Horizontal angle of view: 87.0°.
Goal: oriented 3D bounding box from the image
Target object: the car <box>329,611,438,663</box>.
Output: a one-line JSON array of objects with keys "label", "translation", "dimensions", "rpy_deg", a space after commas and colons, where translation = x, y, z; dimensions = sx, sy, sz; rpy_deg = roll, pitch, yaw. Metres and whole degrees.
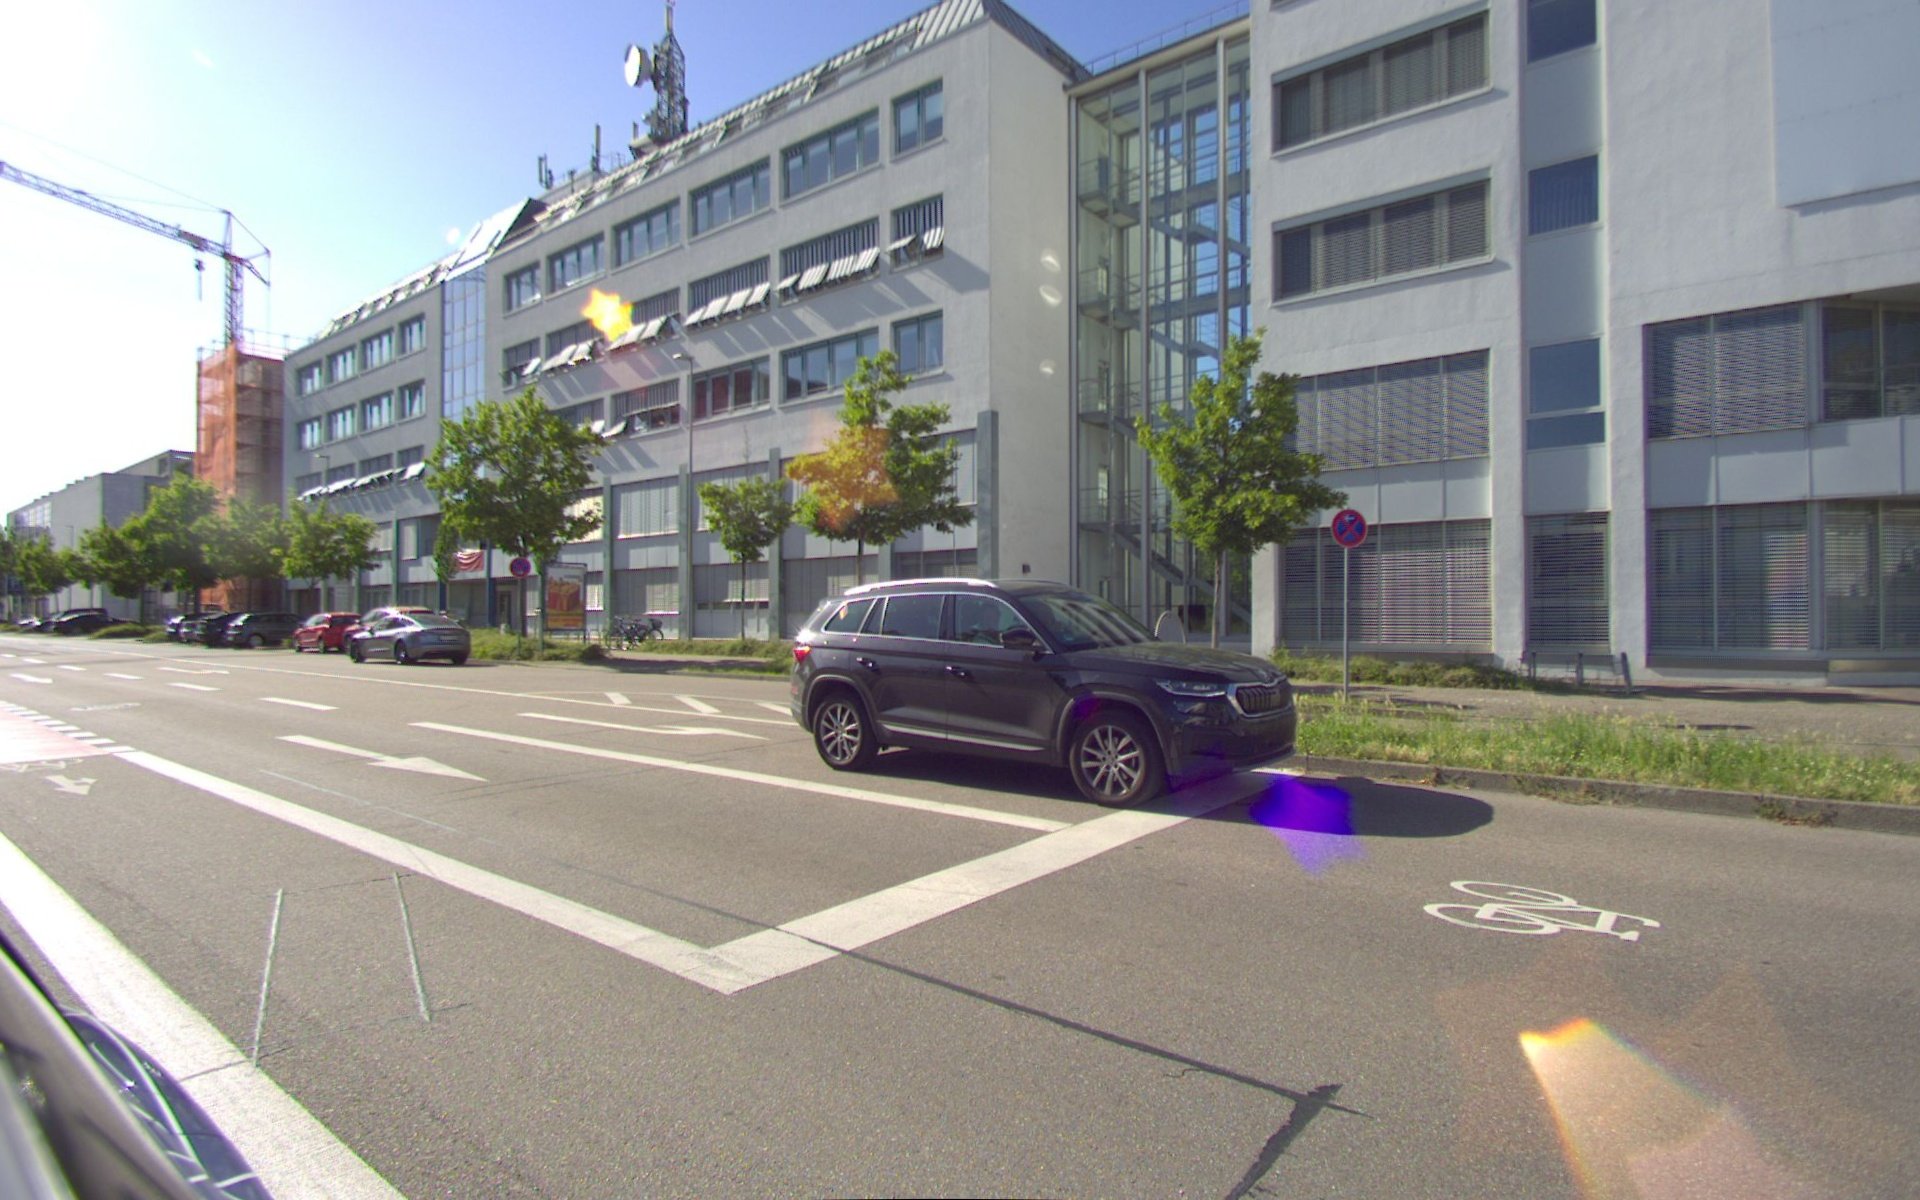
[{"label": "car", "translation": [-19.879, 1.244, 34.827], "dimensions": [4.303, 1.619, 1.673], "rpy_deg": [-1, 1, 37]}]

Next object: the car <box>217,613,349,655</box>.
[{"label": "car", "translation": [-28.879, 1.400, 43.305], "dimensions": [1.690, 1.549, 4.348], "rpy_deg": [-1, 1, 35]}]

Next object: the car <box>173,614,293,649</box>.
[{"label": "car", "translation": [-34.334, 1.452, 47.903], "dimensions": [1.693, 1.442, 4.340], "rpy_deg": [-1, 1, 41]}]

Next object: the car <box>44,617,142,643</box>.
[{"label": "car", "translation": [-55.020, 1.859, 64.291], "dimensions": [1.973, 1.442, 4.347], "rpy_deg": [-1, 1, 36]}]

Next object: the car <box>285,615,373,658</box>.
[{"label": "car", "translation": [-23.662, 1.333, 37.905], "dimensions": [3.868, 1.442, 1.671], "rpy_deg": [-1, 1, 40]}]

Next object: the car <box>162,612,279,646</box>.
[{"label": "car", "translation": [-36.137, 1.400, 49.552], "dimensions": [1.693, 1.442, 4.340], "rpy_deg": [-1, 1, 41]}]

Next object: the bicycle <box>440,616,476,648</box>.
[{"label": "bicycle", "translation": [-21.789, 1.373, 43.924], "dimensions": [0.701, 1.357, 2.233], "rpy_deg": [3, -3, -45]}]

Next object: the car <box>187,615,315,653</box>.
[{"label": "car", "translation": [-31.437, 1.488, 44.987], "dimensions": [1.690, 1.442, 4.346], "rpy_deg": [-1, 1, 36]}]

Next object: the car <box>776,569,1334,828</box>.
[{"label": "car", "translation": [0.595, 0.635, 8.536], "dimensions": [4.474, 1.640, 1.736], "rpy_deg": [-1, 1, 40]}]

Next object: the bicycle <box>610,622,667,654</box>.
[{"label": "bicycle", "translation": [-11.153, 1.323, 35.123], "dimensions": [1.767, 1.077, 0.622], "rpy_deg": [2, -3, -43]}]

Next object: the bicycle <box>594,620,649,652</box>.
[{"label": "bicycle", "translation": [-11.858, 1.272, 35.483], "dimensions": [1.746, 1.077, 0.556], "rpy_deg": [2, -3, -43]}]

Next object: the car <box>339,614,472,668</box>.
[{"label": "car", "translation": [-16.239, 1.167, 29.580], "dimensions": [4.539, 1.479, 1.672], "rpy_deg": [-1, -2, 37]}]
